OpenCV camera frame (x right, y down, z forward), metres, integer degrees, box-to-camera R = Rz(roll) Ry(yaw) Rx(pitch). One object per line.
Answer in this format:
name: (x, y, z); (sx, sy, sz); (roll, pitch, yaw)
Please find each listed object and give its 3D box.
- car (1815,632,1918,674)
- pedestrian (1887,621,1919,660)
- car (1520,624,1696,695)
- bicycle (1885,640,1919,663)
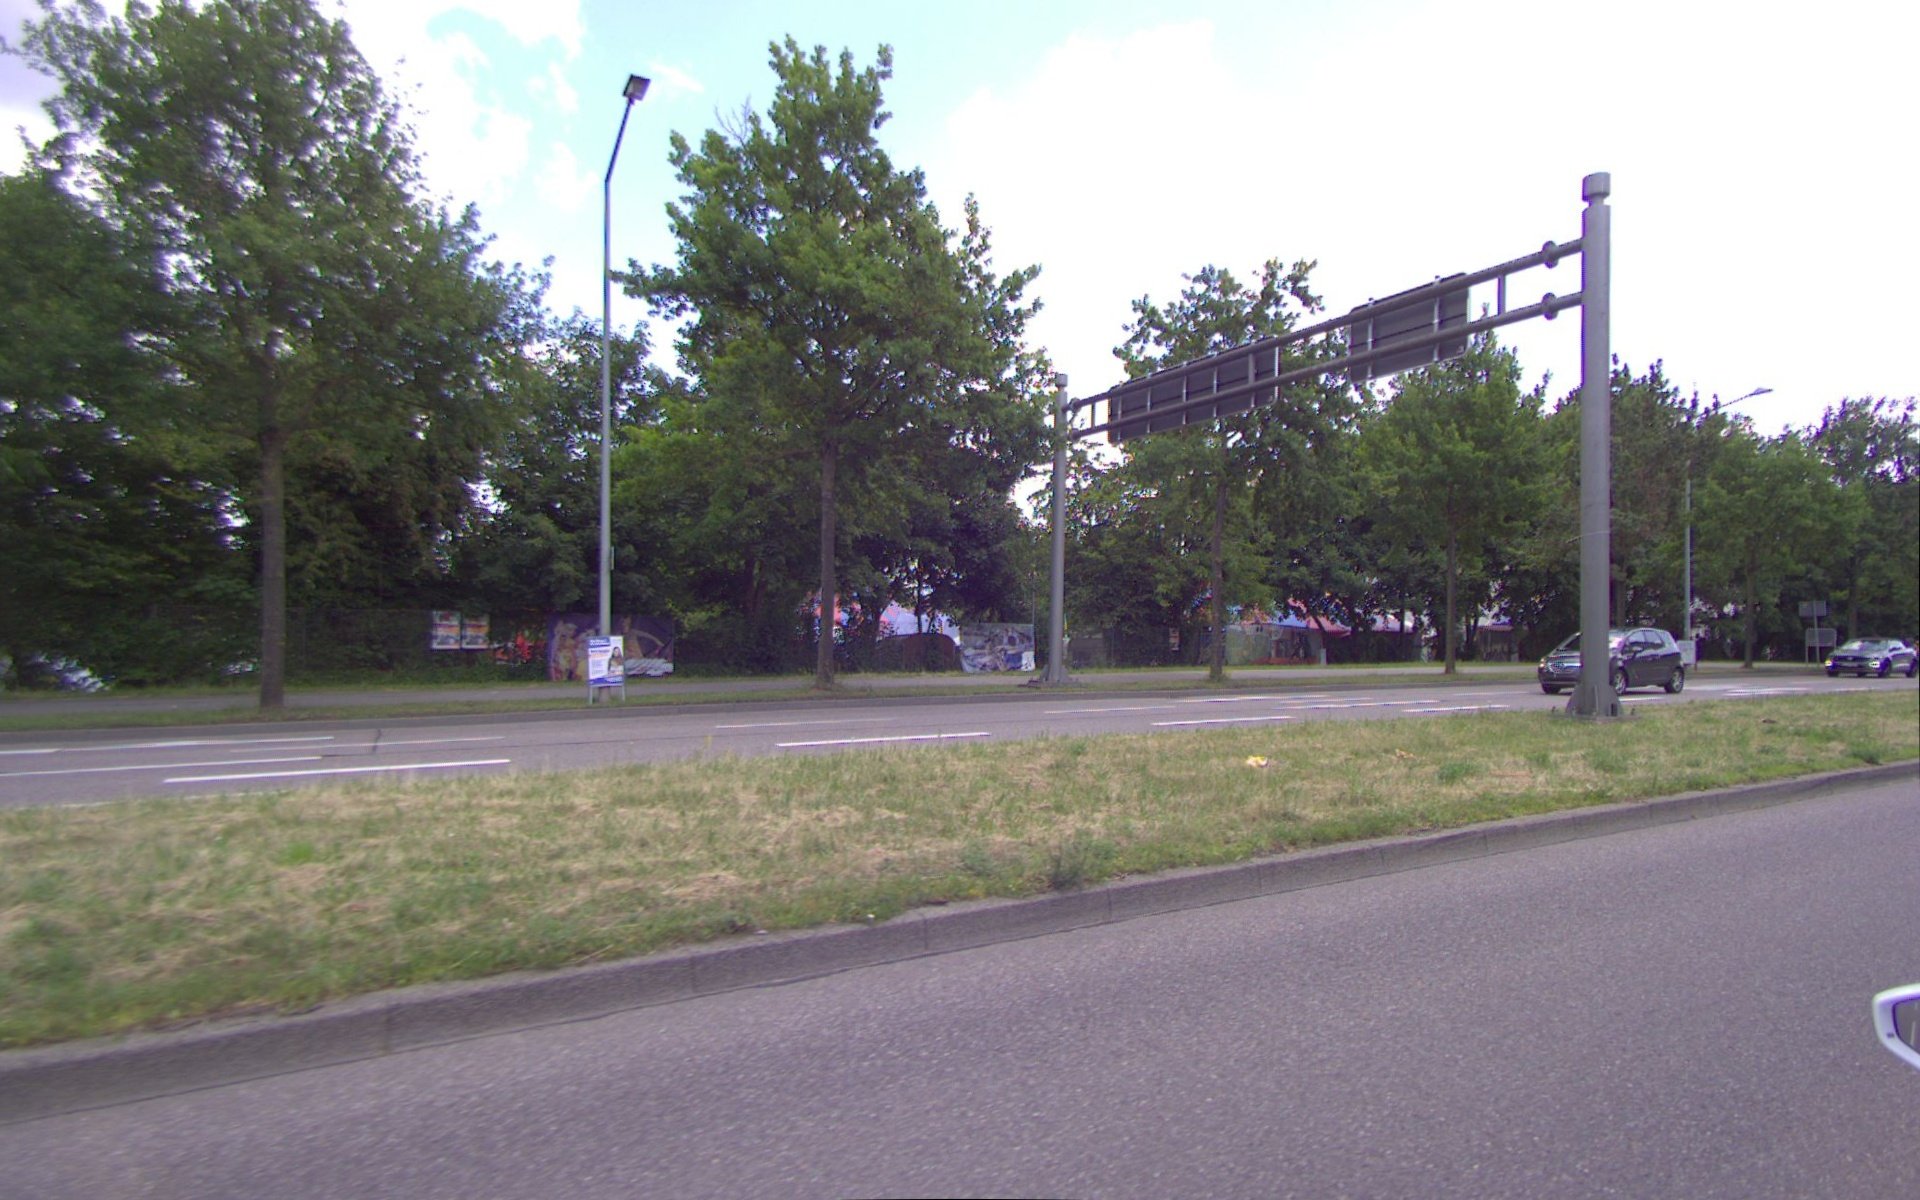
car: (35.418, 2.052, 39.231); (4.520, 1.566, 1.733); (1, -3, -31)
pedestrian: (52.046, 2.220, 55.376); (1.234, 2.041, 0.966); (1, 1, -29)
car: (15.742, 1.412, 24.383); (4.222, 1.589, 1.735); (1, -3, -28)
bicycle: (52.122, 2.819, 55.447); (2.472, 1.243, 0.804); (1, -2, -29)
